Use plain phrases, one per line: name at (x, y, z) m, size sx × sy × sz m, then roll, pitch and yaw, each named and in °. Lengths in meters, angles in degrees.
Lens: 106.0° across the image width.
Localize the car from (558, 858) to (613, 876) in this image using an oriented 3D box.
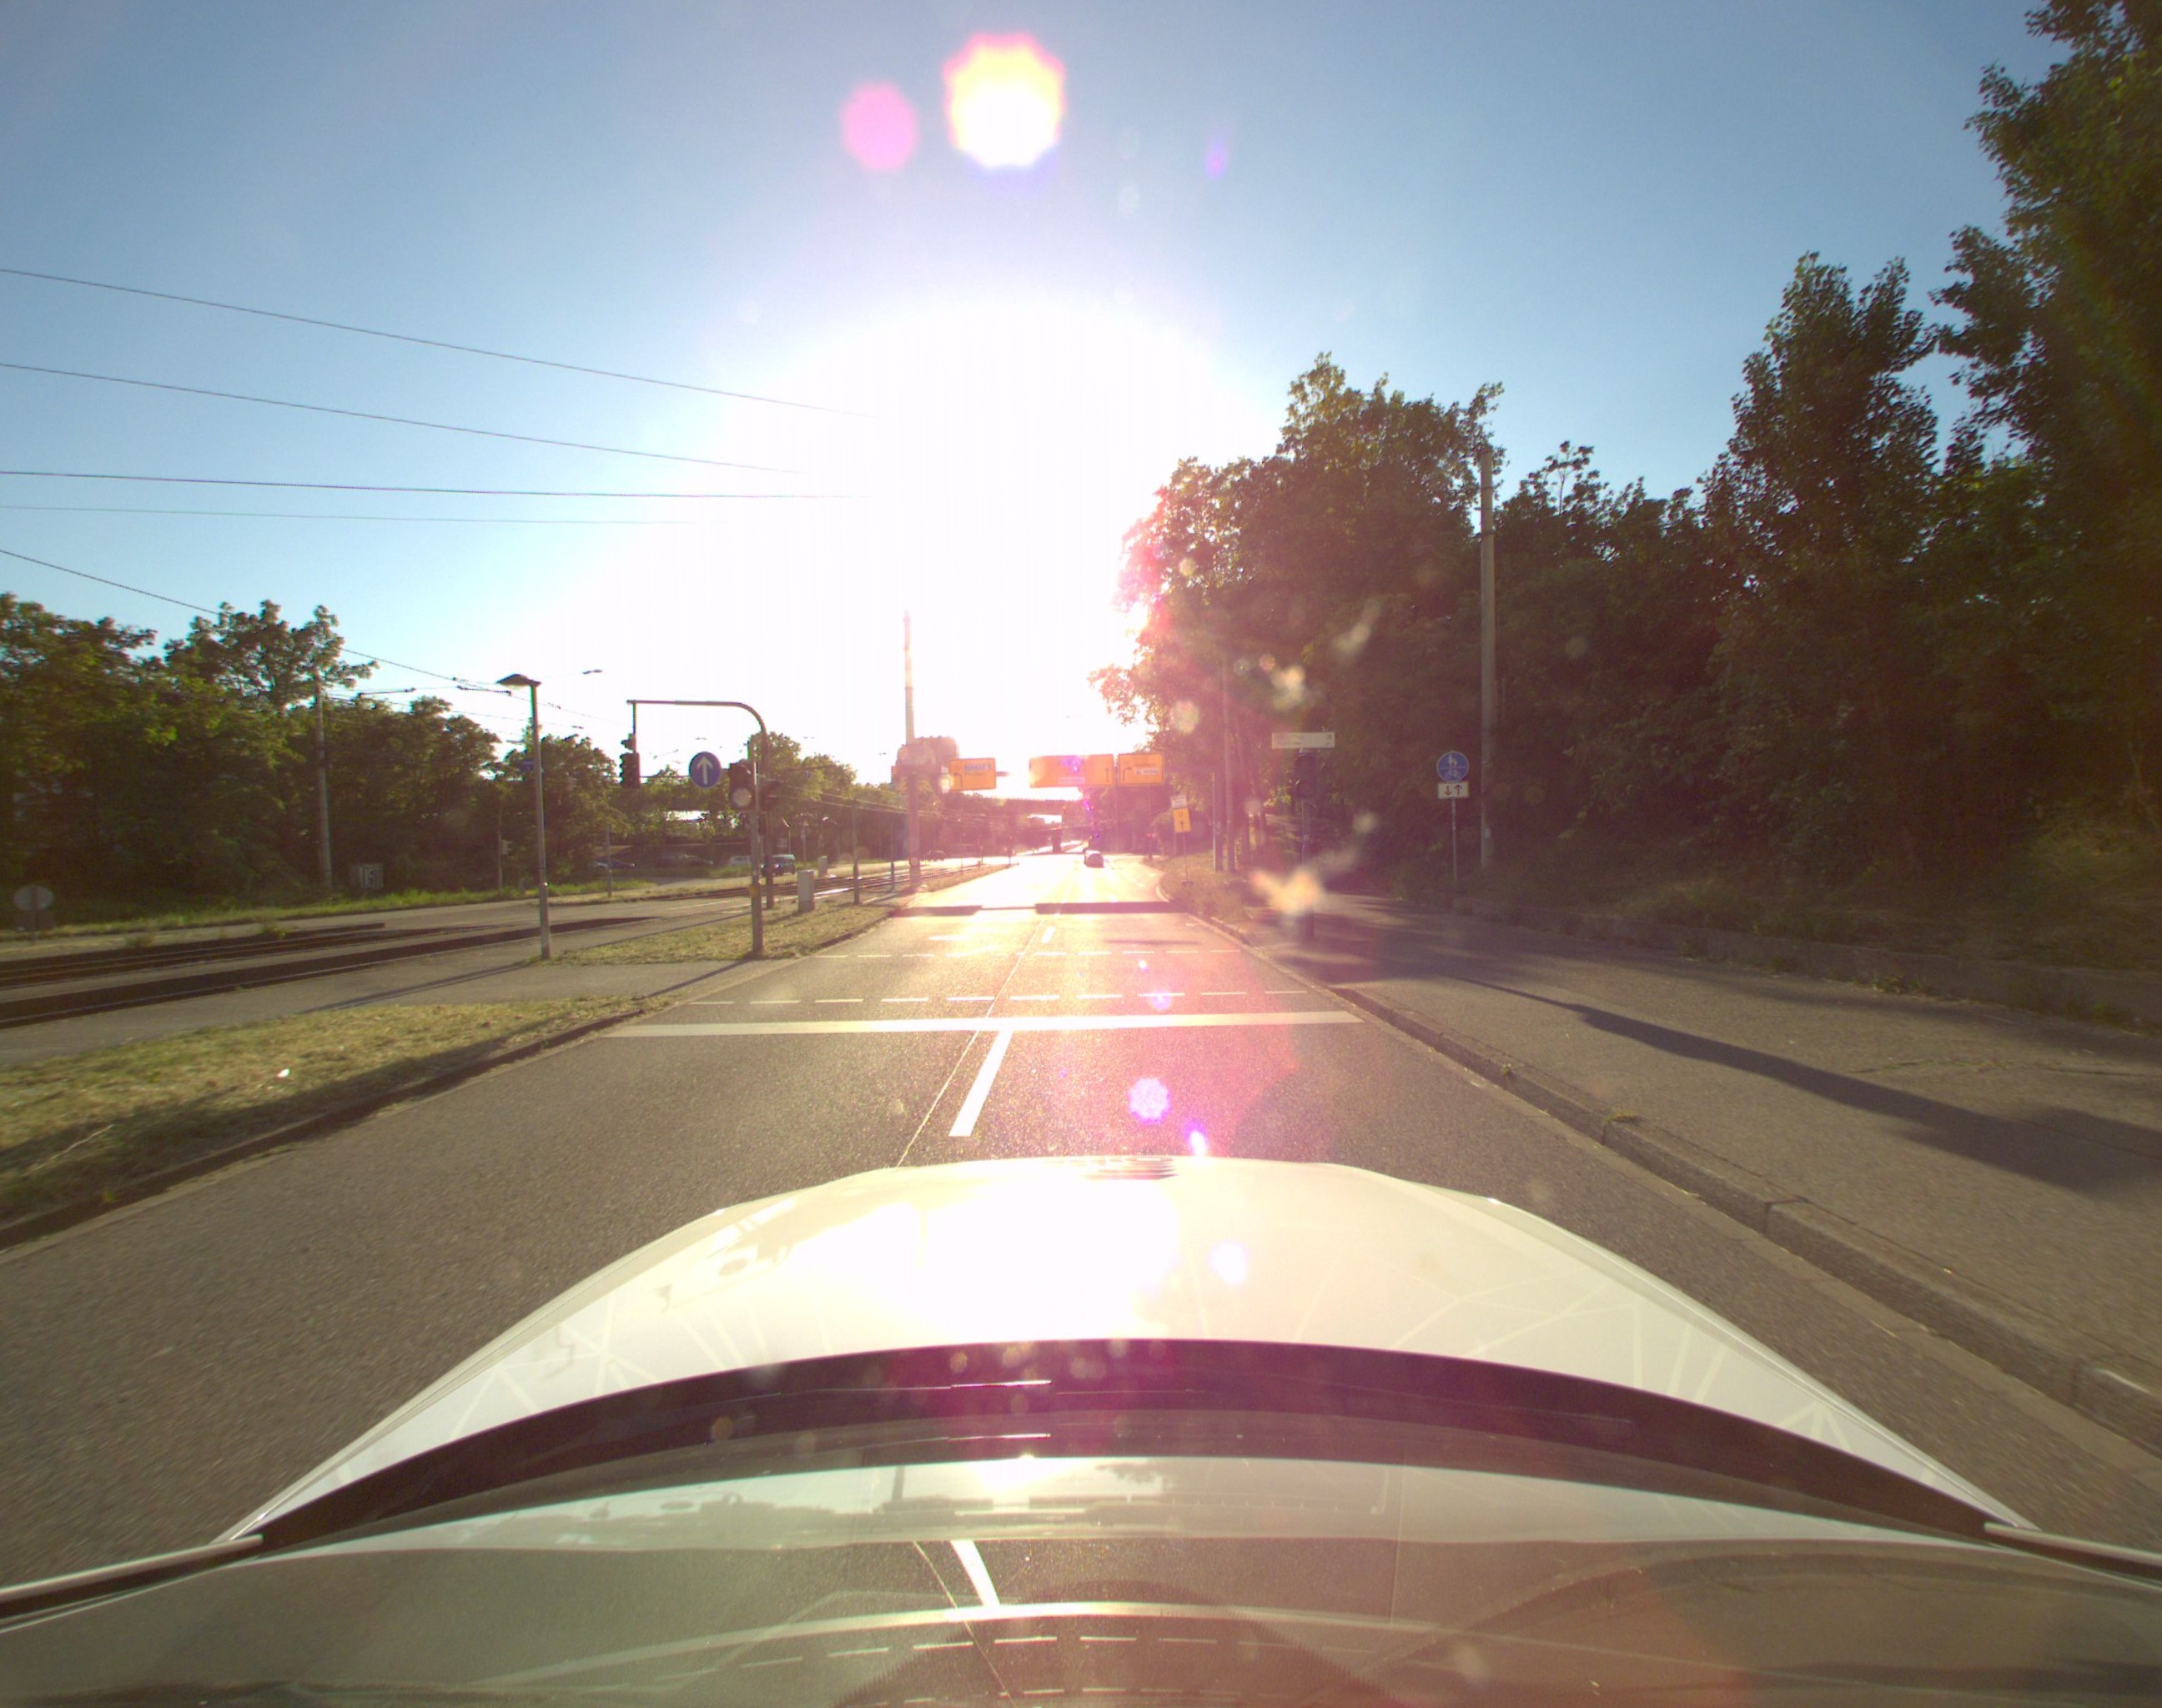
car at (-51.216, 1.298, 84.322) m, size 4.782 × 1.574 × 1.677 m, roll -3°, pitch 1°, yaw -30°

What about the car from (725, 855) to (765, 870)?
car at (-37.779, 0.911, 91.570) m, size 4.007 × 1.574 × 1.679 m, roll -1°, pitch 1°, yaw -26°

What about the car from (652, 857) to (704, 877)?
car at (-43.688, 1.417, 88.237) m, size 4.958 × 1.991 × 2.018 m, roll -1°, pitch 1°, yaw -29°

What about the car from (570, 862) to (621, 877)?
car at (-52.432, 1.637, 88.066) m, size 4.639 × 1.458 × 1.678 m, roll -1°, pitch 1°, yaw -30°

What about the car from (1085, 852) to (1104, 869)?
car at (1.332, 0.597, 80.819) m, size 1.731 × 1.505 × 3.999 m, roll -2°, pitch 1°, yaw -1°

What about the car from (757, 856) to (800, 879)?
car at (-26.488, 1.165, 71.454) m, size 1.925 × 1.787 × 4.263 m, roll -2°, pitch 1°, yaw 3°

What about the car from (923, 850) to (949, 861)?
car at (-21.621, 0.208, 121.294) m, size 1.752 × 1.505 × 3.951 m, roll -2°, pitch 1°, yaw -44°

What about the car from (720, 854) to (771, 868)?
car at (-39.073, 0.790, 94.979) m, size 5.373 × 1.574 × 1.727 m, roll -1°, pitch 1°, yaw -23°

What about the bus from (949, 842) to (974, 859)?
bus at (-24.900, -0.666, 170.972) m, size 2.533 × 3.130 × 12.928 m, roll -2°, pitch -1°, yaw 3°

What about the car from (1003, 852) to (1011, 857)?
car at (-19.714, 0.121, 218.109) m, size 1.600 × 1.419 × 4.011 m, roll 0°, pitch 1°, yaw 2°
